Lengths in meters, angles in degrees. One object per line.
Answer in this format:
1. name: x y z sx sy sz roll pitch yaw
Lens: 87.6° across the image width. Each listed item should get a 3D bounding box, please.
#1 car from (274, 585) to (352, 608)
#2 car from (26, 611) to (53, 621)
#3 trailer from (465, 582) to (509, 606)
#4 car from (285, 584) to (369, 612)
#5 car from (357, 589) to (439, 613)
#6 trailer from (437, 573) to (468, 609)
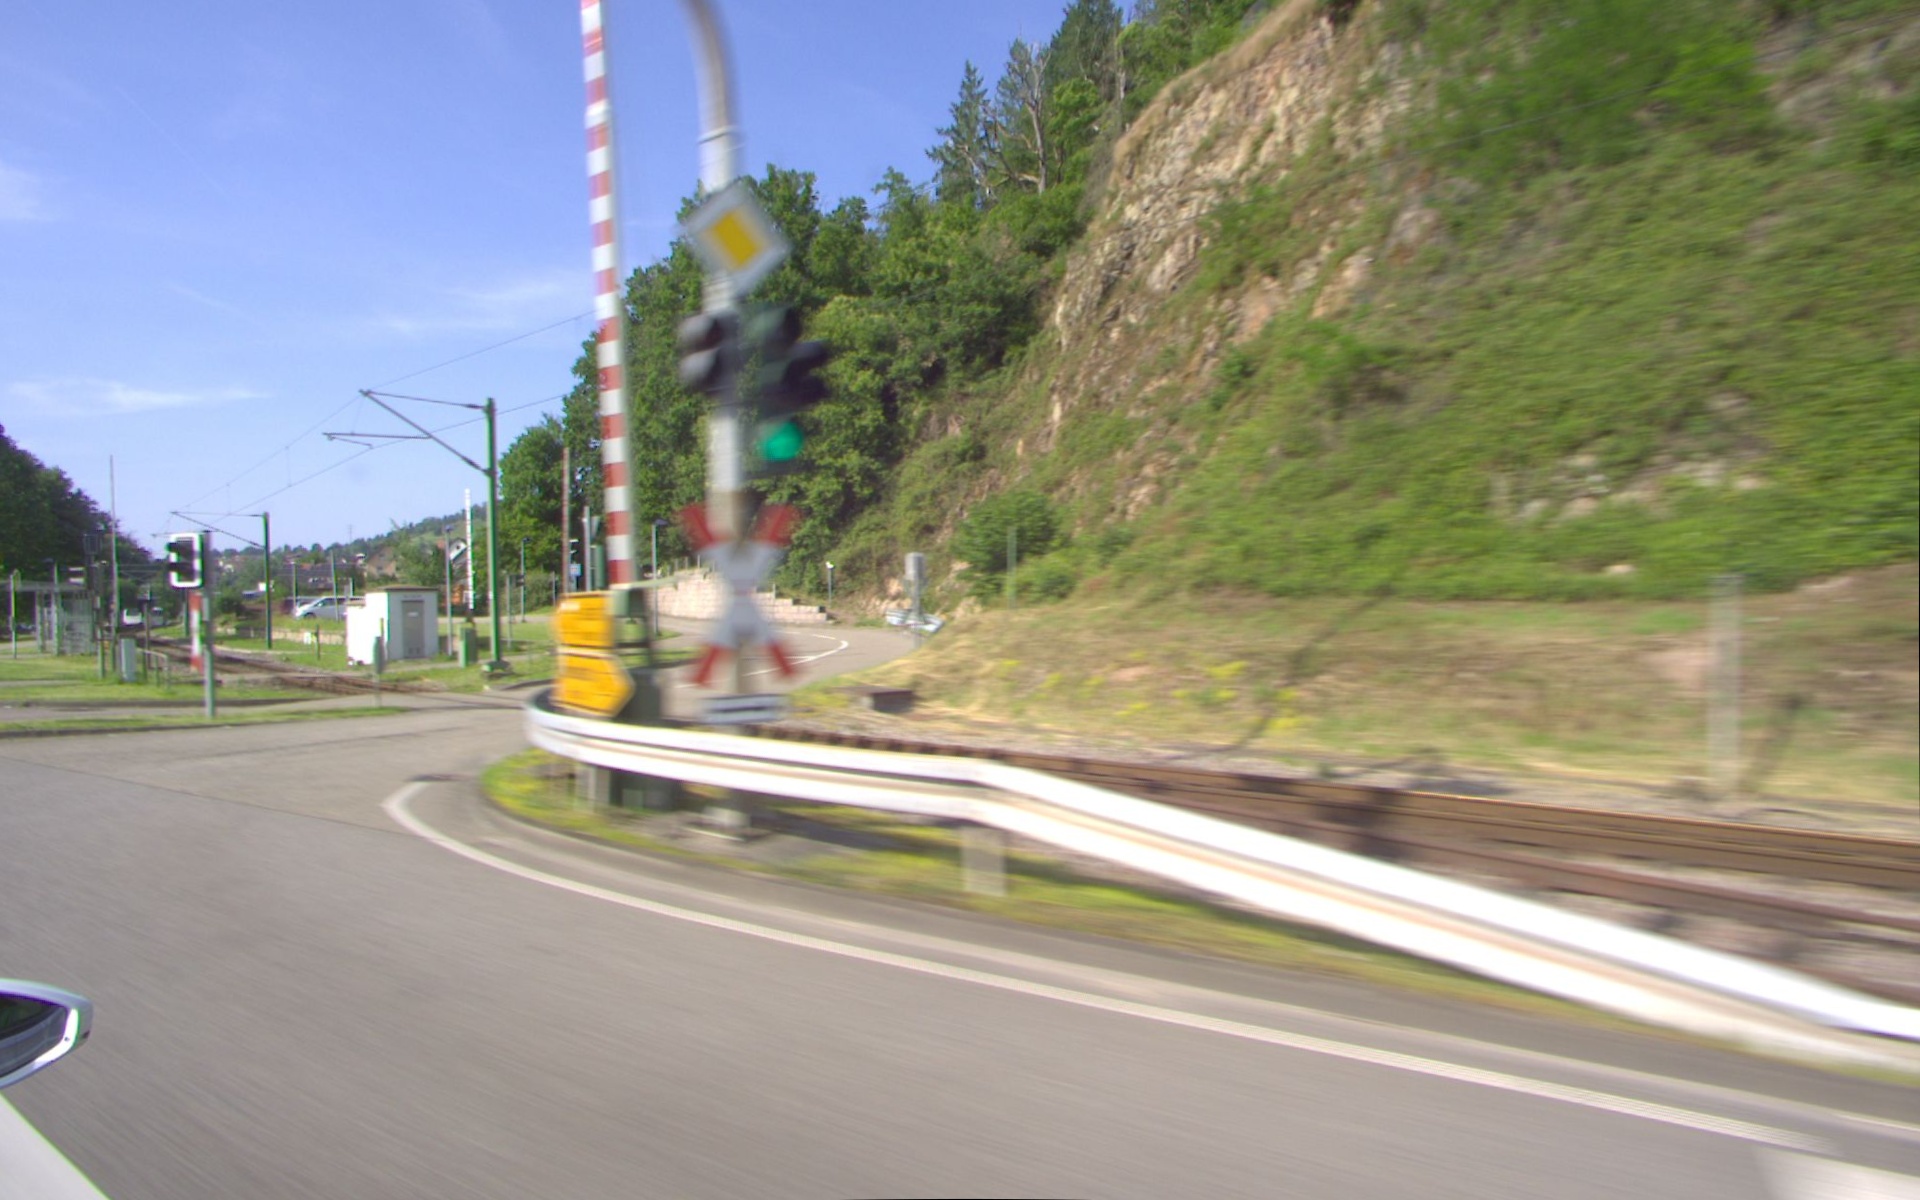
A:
1. car: -50.747 -0.260 78.626 4.916 1.713 1.918 1 0 -42
2. car: -137.107 2.370 149.179 1.829 1.488 4.522 2 -1 -27
3. trailer: -44.138 -0.583 93.477 3.644 2.219 1.812 -1 1 -23
4. car: -45.992 -0.114 72.807 4.916 1.969 2.121 1 0 -42
5. car: -34.079 0.078 60.741 4.067 1.416 1.793 1 0 -42
6. trailer: -58.557 -1.049 115.667 2.572 3.946 7.706 -1 1 -22
